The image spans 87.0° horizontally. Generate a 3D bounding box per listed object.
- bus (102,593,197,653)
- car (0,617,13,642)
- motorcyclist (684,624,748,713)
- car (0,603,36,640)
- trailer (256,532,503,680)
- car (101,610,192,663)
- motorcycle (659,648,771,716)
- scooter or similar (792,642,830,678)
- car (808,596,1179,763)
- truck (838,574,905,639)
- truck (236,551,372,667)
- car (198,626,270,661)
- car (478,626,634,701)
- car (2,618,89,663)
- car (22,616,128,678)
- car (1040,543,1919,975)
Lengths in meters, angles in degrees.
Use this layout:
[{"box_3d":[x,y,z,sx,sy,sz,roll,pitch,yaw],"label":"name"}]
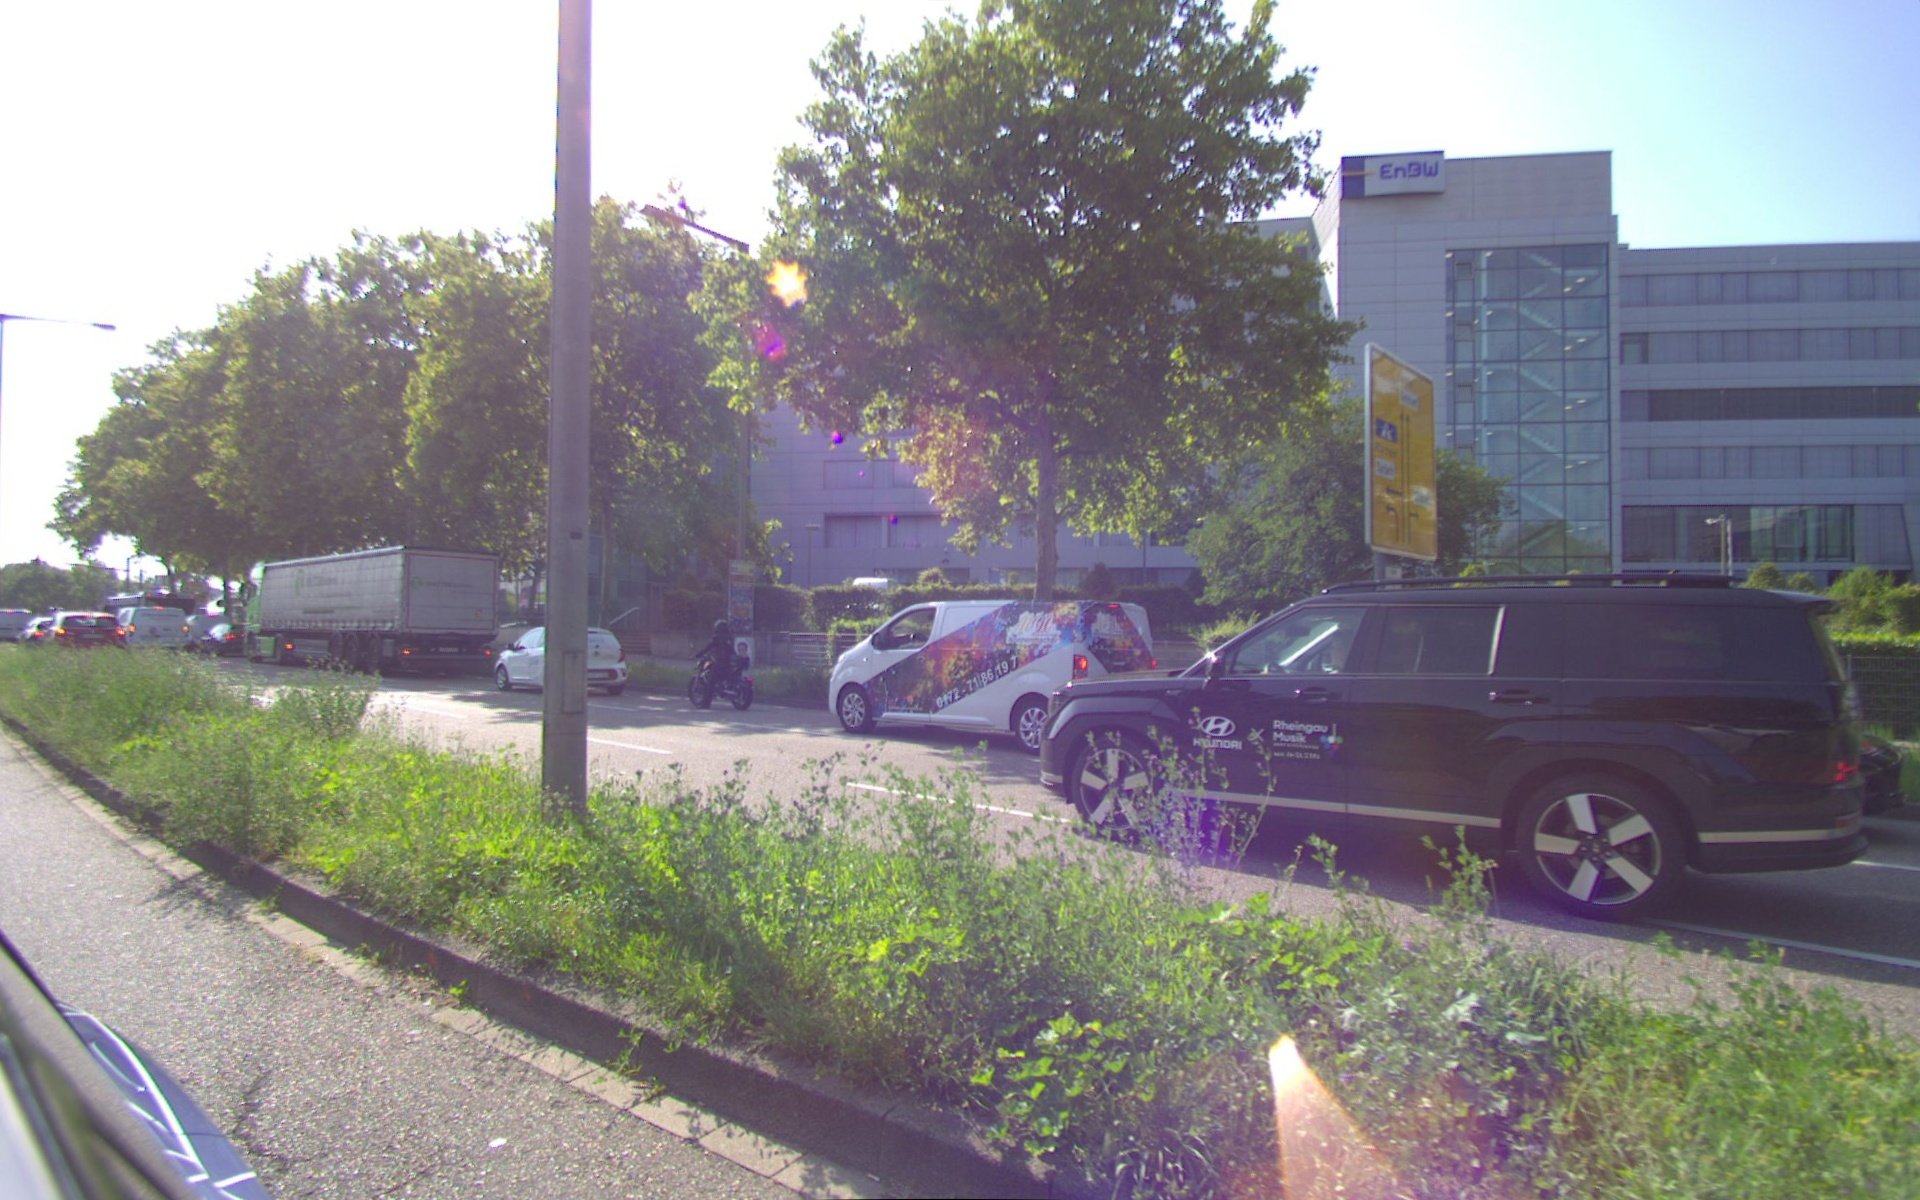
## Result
[{"box_3d":[-46.640,1.312,58.024,12.312,3.103,2.562,-1,-1,43],"label":"bus"},{"box_3d":[-56.100,1.726,58.480,4.083,1.413,1.690,-2,-4,43],"label":"car"},{"box_3d":[-4.476,1.233,18.541,0.922,1.566,0.769,-1,-2,43],"label":"motorcyclist"},{"box_3d":[-50.300,1.159,53.298,4.889,1.878,1.891,-2,-4,42],"label":"car"},{"box_3d":[-18.775,0.307,31.952,13.810,3.851,2.604,-1,-4,43],"label":"trailer"},{"box_3d":[-31.959,1.413,39.692,5.035,1.968,1.972,-1,-3,42],"label":"car"},{"box_3d":[-4.533,1.470,18.589,2.468,1.115,0.786,-1,-1,44],"label":"motorcycle"},{"box_3d":[-4.936,1.966,33.417,1.381,1.136,0.503,-1,-2,44],"label":"scooter or similar"},{"box_3d":[0.290,0.981,13.812,4.969,1.873,1.963,-1,-4,43],"label":"car"},{"box_3d":[-4.087,0.338,47.636,2.211,2.883,5.896,0,-1,4],"label":"truck"},{"box_3d":[-23.706,0.409,36.463,5.890,3.849,2.579,-1,-4,43],"label":"truck"},{"box_3d":[-31.705,1.866,44.145,4.479,1.421,1.629,-1,-4,43],"label":"car"},{"box_3d":[-8.983,1.353,22.364,3.831,1.490,1.727,-1,-3,44],"label":"car"},{"box_3d":[-33.183,1.452,36.690,4.584,1.490,1.728,-1,-4,41],"label":"car"},{"box_3d":[-27.142,1.403,31.004,4.586,1.737,1.932,-1,-3,43],"label":"car"},{"box_3d":[2.908,0.731,6.354,4.473,1.773,1.973,-1,-4,40],"label":"car"}]
